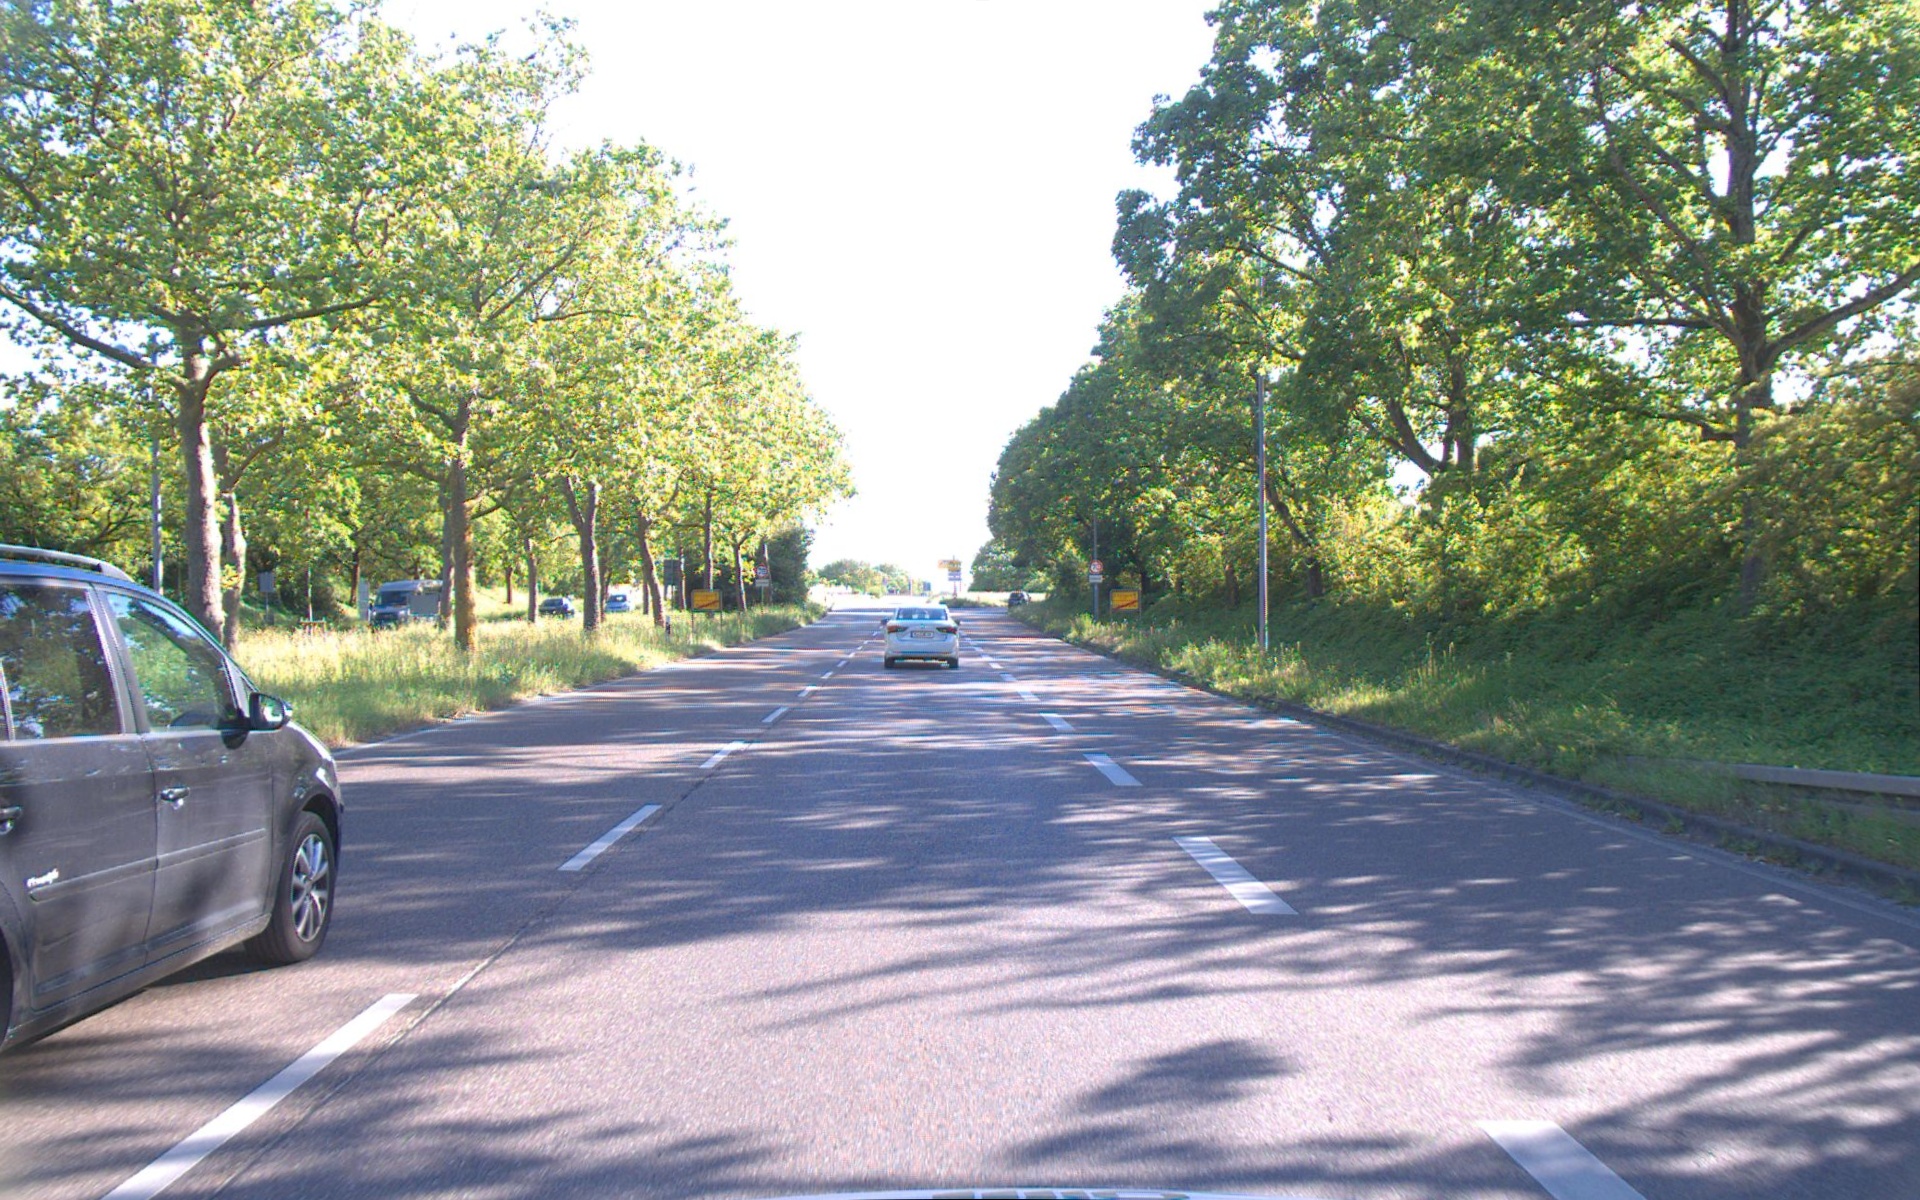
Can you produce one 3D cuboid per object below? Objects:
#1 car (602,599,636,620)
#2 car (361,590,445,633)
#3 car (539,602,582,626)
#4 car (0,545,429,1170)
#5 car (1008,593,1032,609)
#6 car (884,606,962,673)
[{"bbox_3d":[-25.403,0.678,123.216,1.732,1.489,4.365,-1,0,-1],"label":"car"},{"bbox_3d":[-25.906,0.517,77.162,2.091,1.935,5.740,-1,0,-1],"label":"car"},{"bbox_3d":[-25.446,0.850,105.444,1.732,1.489,4.365,-1,0,-1],"label":"car"},{"bbox_3d":[-3.449,0.691,5.656,1.732,1.673,4.922,1,-1,-1],"label":"car"},{"bbox_3d":[5.929,0.075,162.649,1.730,1.489,4.370,-1,0,10],"label":"car"},{"bbox_3d":[-0.936,0.894,39.706,1.732,1.489,4.363,-1,0,-3],"label":"car"}]
